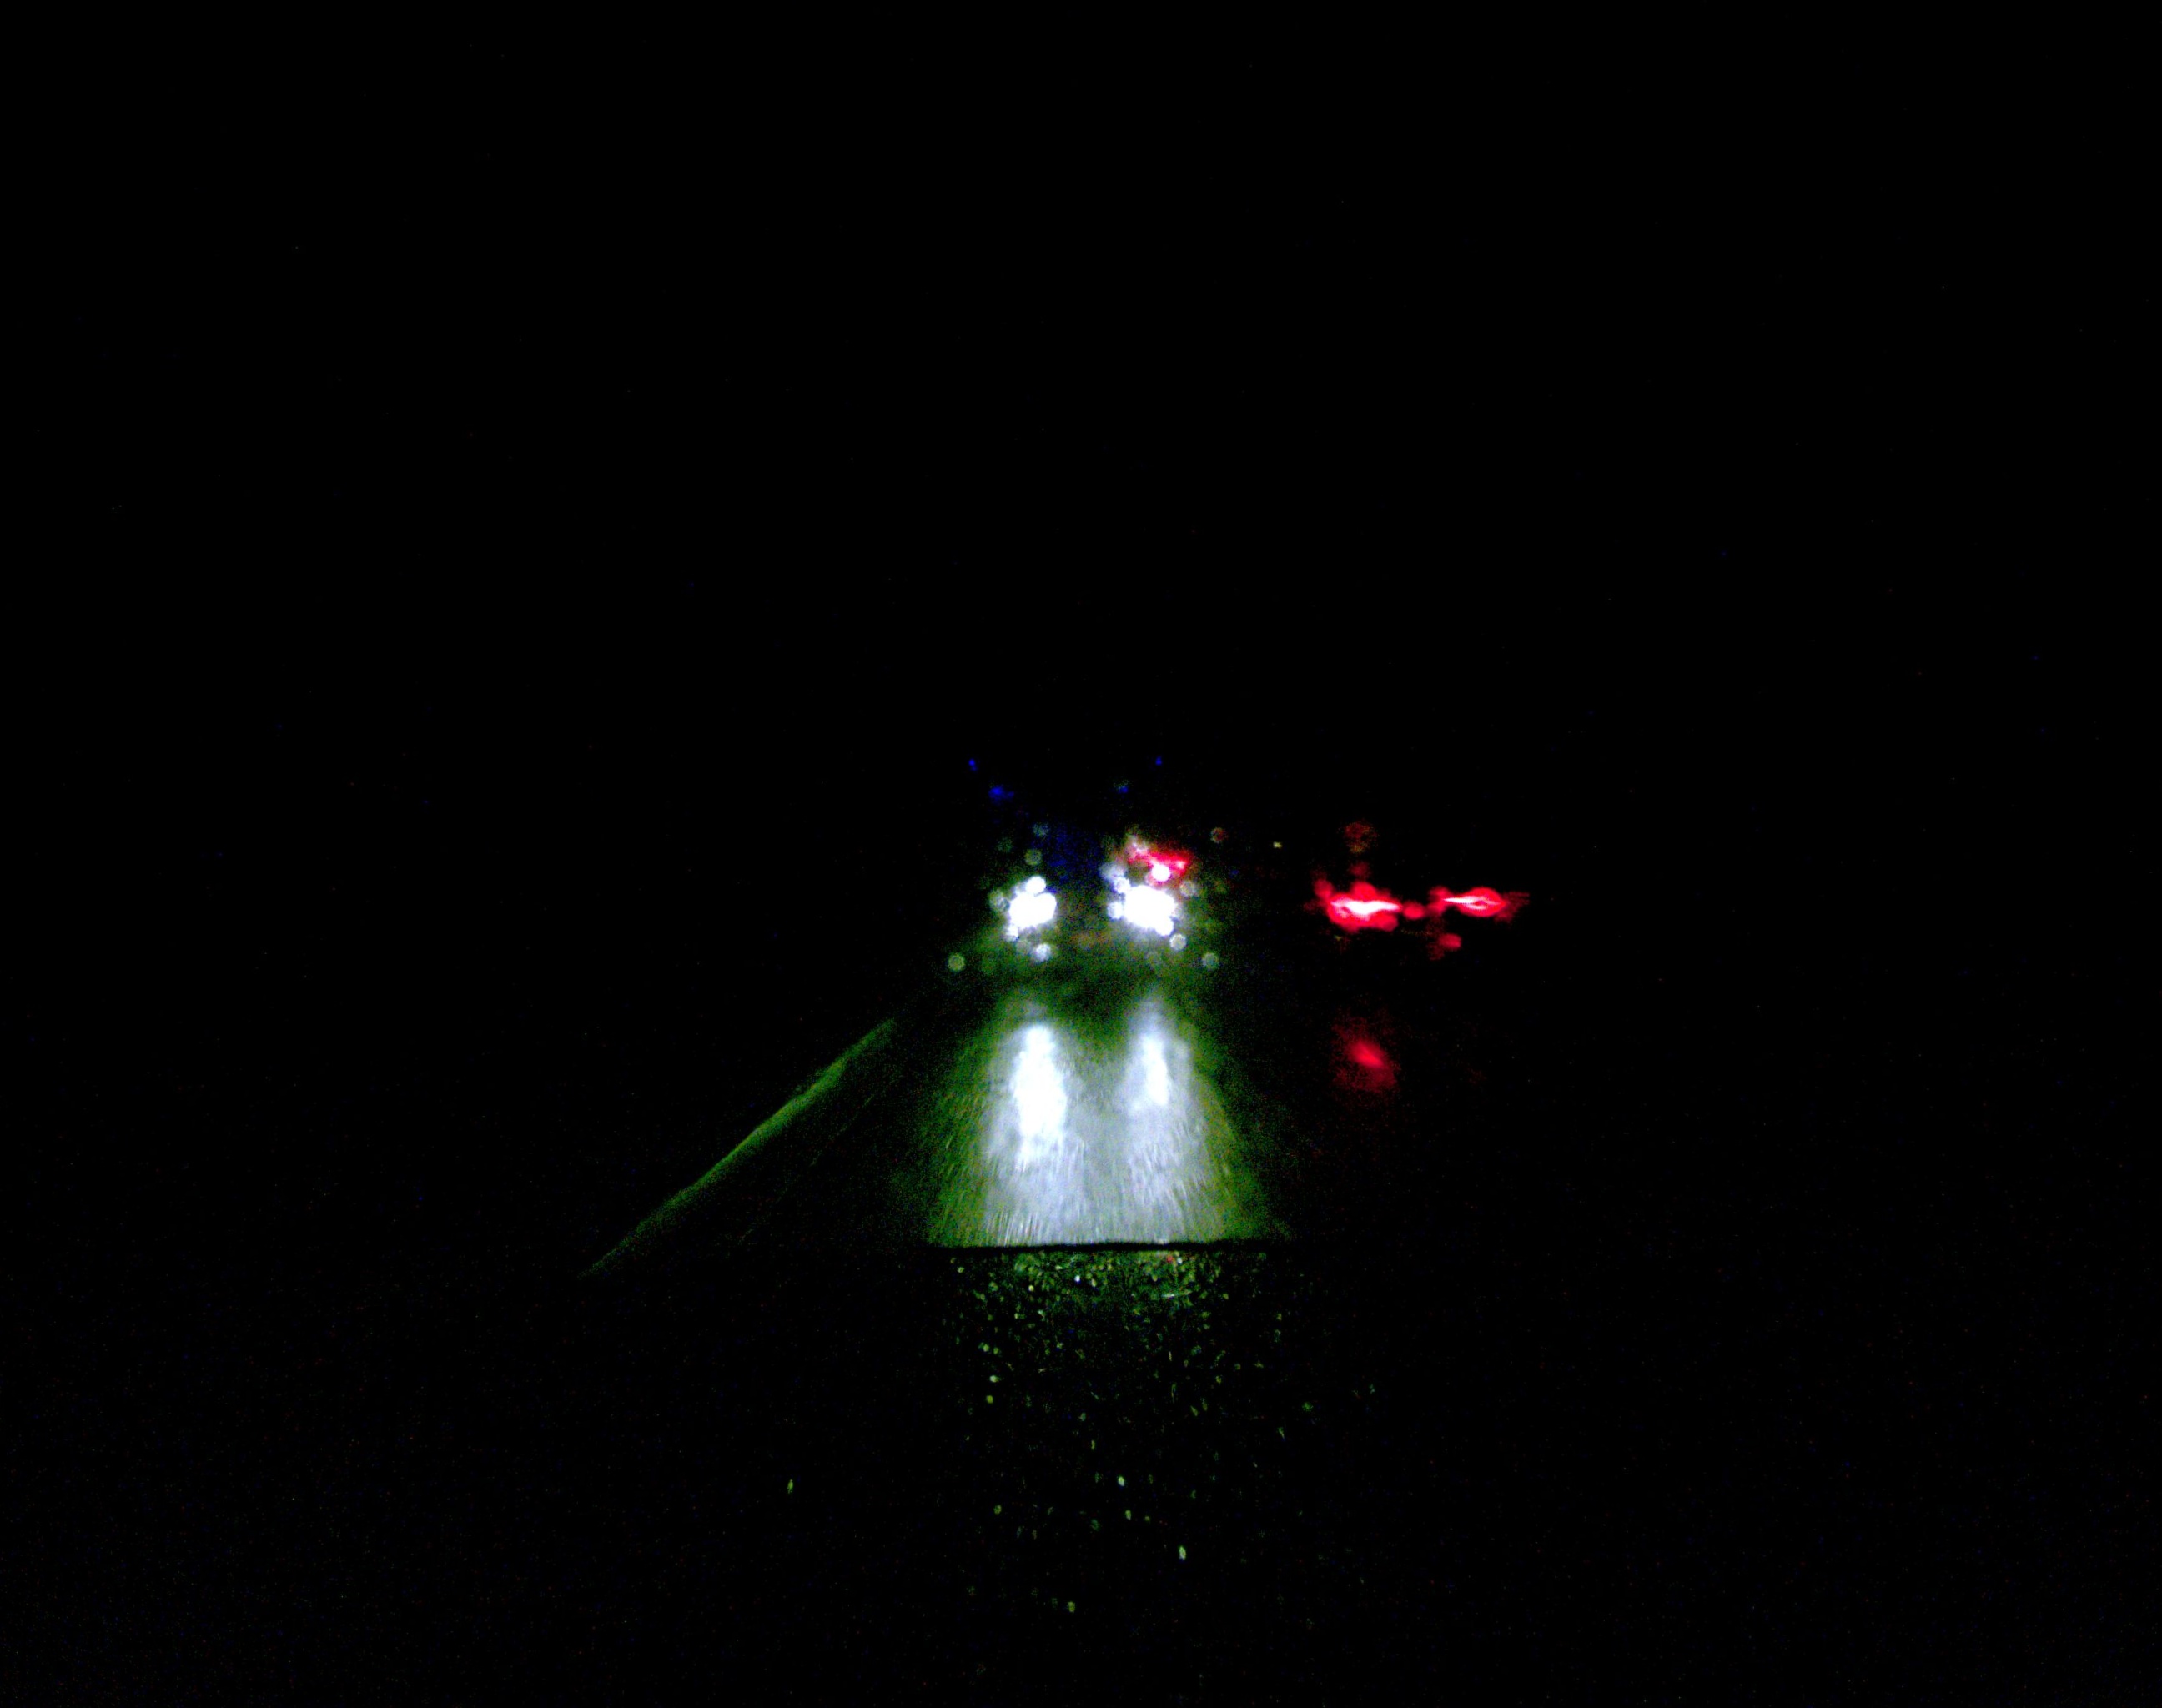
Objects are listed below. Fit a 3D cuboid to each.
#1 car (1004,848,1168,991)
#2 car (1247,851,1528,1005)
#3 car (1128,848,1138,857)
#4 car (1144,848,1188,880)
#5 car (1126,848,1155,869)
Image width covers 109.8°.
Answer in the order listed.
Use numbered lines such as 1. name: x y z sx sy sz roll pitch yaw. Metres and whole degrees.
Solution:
1. car: 0.166 0.746 10.755 1.845 1.565 4.000 -2 1 3
2. car: 3.637 0.763 9.992 1.908 1.461 4.274 -3 1 0
3. car: 10.128 -0.304 147.016 1.845 1.565 4.000 -2 1 3
4. car: 4.498 0.506 40.811 1.842 1.537 4.257 -2 0 0
5. car: 4.784 0.313 61.198 1.956 1.646 4.123 0 1 -1
